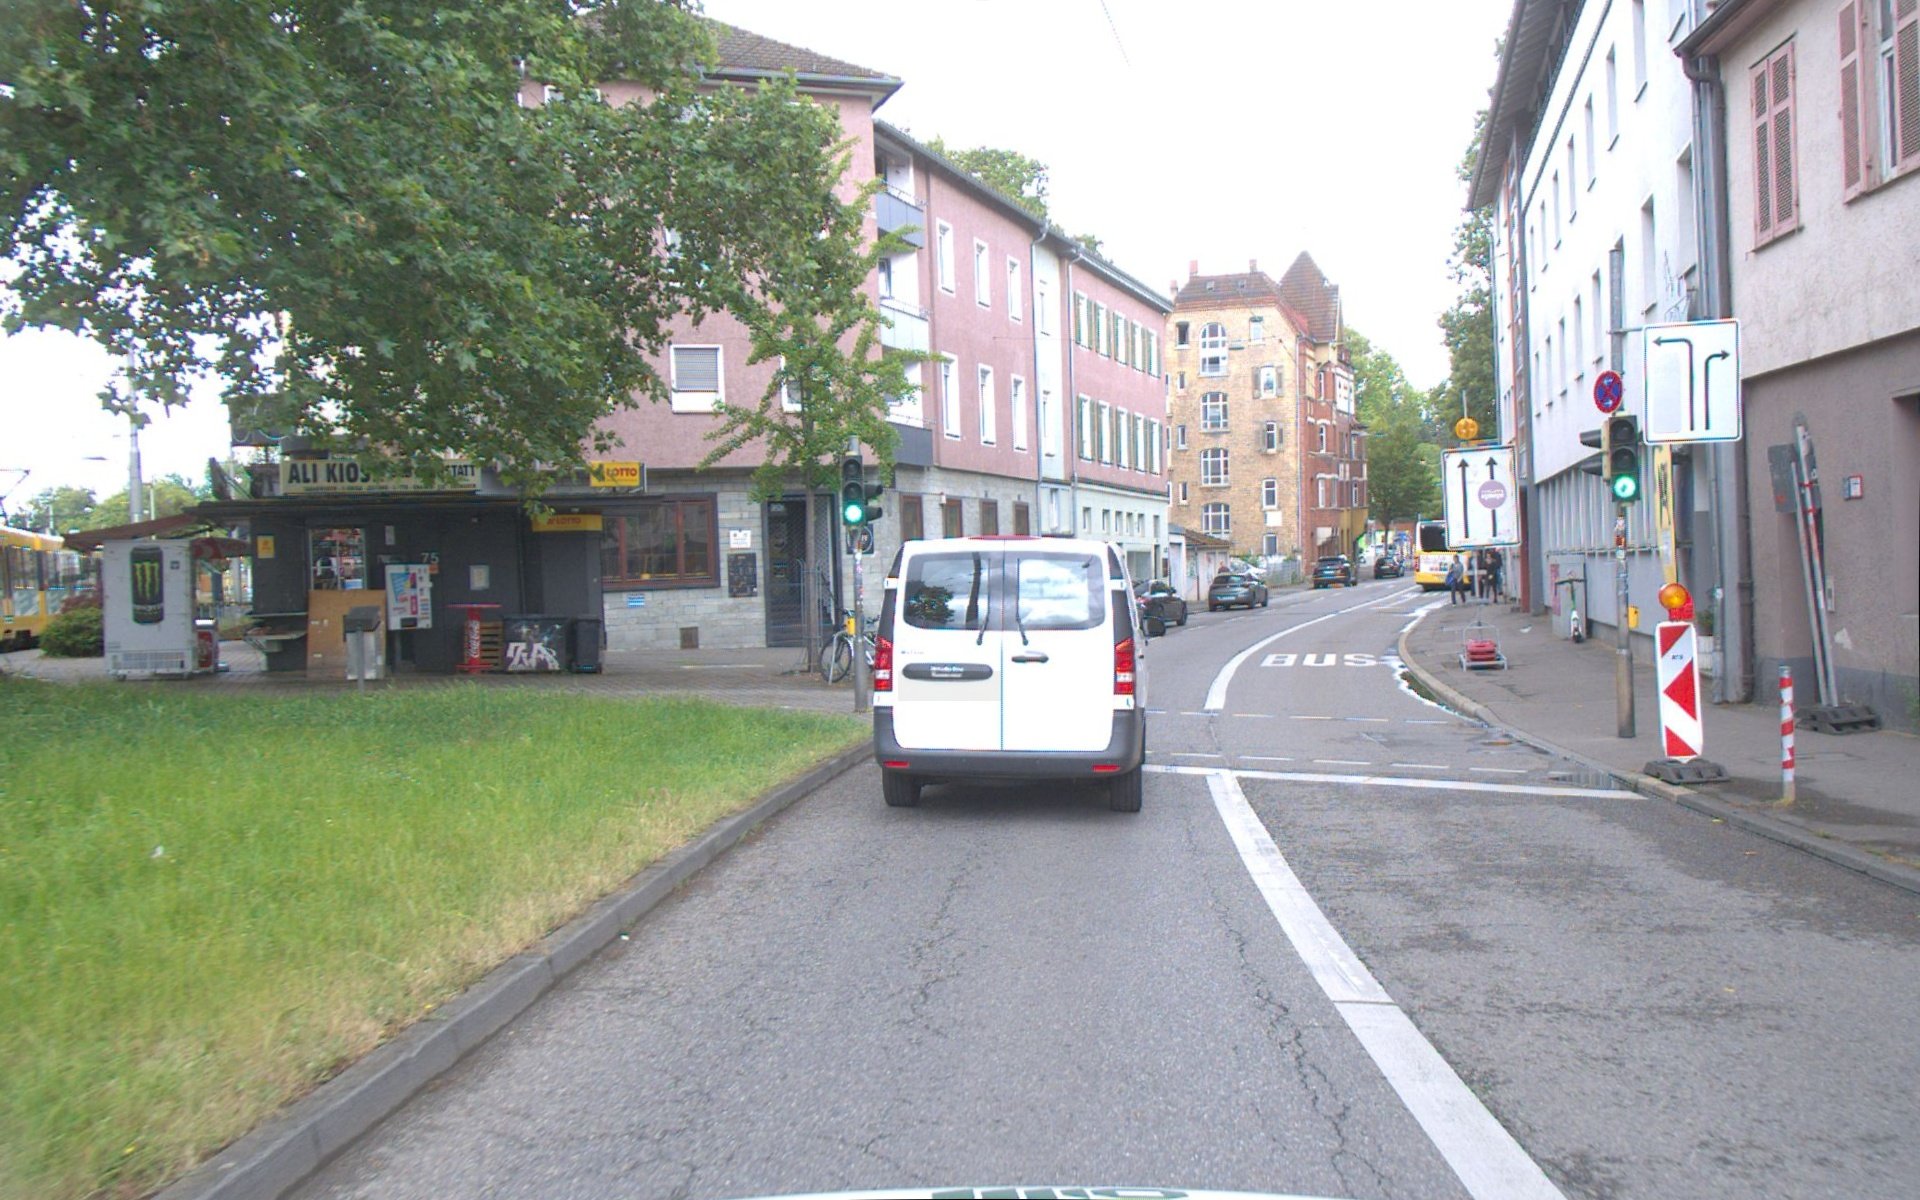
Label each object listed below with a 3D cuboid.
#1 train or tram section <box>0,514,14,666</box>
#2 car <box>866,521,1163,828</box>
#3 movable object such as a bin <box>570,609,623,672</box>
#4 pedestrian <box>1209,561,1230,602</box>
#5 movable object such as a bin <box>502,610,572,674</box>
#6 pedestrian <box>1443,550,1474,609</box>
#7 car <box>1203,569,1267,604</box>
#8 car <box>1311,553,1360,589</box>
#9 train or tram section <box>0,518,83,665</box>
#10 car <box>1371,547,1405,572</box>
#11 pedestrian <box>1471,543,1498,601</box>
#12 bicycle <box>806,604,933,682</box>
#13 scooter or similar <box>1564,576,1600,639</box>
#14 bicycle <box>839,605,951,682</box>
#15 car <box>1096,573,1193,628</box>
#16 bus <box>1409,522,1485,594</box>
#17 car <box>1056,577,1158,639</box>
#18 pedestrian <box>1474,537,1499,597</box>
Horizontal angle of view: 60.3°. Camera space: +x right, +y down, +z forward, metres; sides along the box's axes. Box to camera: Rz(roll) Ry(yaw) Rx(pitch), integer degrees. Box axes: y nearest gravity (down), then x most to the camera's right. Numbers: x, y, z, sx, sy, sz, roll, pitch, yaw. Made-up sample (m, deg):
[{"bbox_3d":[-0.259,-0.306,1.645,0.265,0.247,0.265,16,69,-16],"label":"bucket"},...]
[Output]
[{"bbox_3d":[-23.560,-0.347,36.298,2.872,3.737,10.940,1,-2,-20],"label":"train or tram section"},{"bbox_3d":[0.625,0.457,12.952,1.876,1.934,4.705,1,0,7],"label":"car"},{"bbox_3d":[-6.051,0.666,27.497,0.662,0.981,1.072,1,1,-22],"label":"movable object such as a bin"},{"bbox_3d":[11.240,-0.817,71.672,0.745,1.774,0.985,0,1,19],"label":"pedestrian"},{"bbox_3d":[-6.936,0.683,27.108,0.952,0.981,1.105,1,1,-23],"label":"movable object such as a bin"},{"bbox_3d":[16.124,-0.660,53.502,0.786,1.824,0.943,-4,1,15],"label":"pedestrian"},{"bbox_3d":[10.820,-0.530,64.866,1.952,1.312,4.002,0,0,18],"label":"car"},{"bbox_3d":[20.538,-1.592,90.356,1.913,1.764,4.775,-2,2,21],"label":"car"},{"bbox_3d":[-27.265,-0.145,46.588,2.872,3.737,10.940,1,-2,-20],"label":"train or tram section"},{"bbox_3d":[29.880,-2.845,115.338,1.689,1.511,4.391,-1,3,22],"label":"car"},{"bbox_3d":[16.672,-0.899,52.585,0.672,1.787,0.879,-4,1,15],"label":"pedestrian"},{"bbox_3d":[-1.374,0.634,25.119,1.830,1.133,0.578,0,1,18],"label":"bicycle"},{"bbox_3d":[11.726,0.134,31.207,0.419,1.116,1.440,-4,1,14],"label":"scooter or similar"},{"bbox_3d":[-1.040,0.683,26.379,1.766,1.197,0.724,0,0,-4],"label":"bicycle"},{"bbox_3d":[5.620,-0.021,49.811,1.791,1.480,4.923,-2,1,20],"label":"car"},{"bbox_3d":[23.062,-2.039,77.948,2.608,3.190,10.042,0,2,21],"label":"bus"},{"bbox_3d":[3.992,0.183,44.351,1.790,1.480,4.587,-2,1,17],"label":"car"},{"bbox_3d":[16.472,-1.035,51.739,0.532,1.787,0.608,-4,2,28],"label":"pedestrian"}]
